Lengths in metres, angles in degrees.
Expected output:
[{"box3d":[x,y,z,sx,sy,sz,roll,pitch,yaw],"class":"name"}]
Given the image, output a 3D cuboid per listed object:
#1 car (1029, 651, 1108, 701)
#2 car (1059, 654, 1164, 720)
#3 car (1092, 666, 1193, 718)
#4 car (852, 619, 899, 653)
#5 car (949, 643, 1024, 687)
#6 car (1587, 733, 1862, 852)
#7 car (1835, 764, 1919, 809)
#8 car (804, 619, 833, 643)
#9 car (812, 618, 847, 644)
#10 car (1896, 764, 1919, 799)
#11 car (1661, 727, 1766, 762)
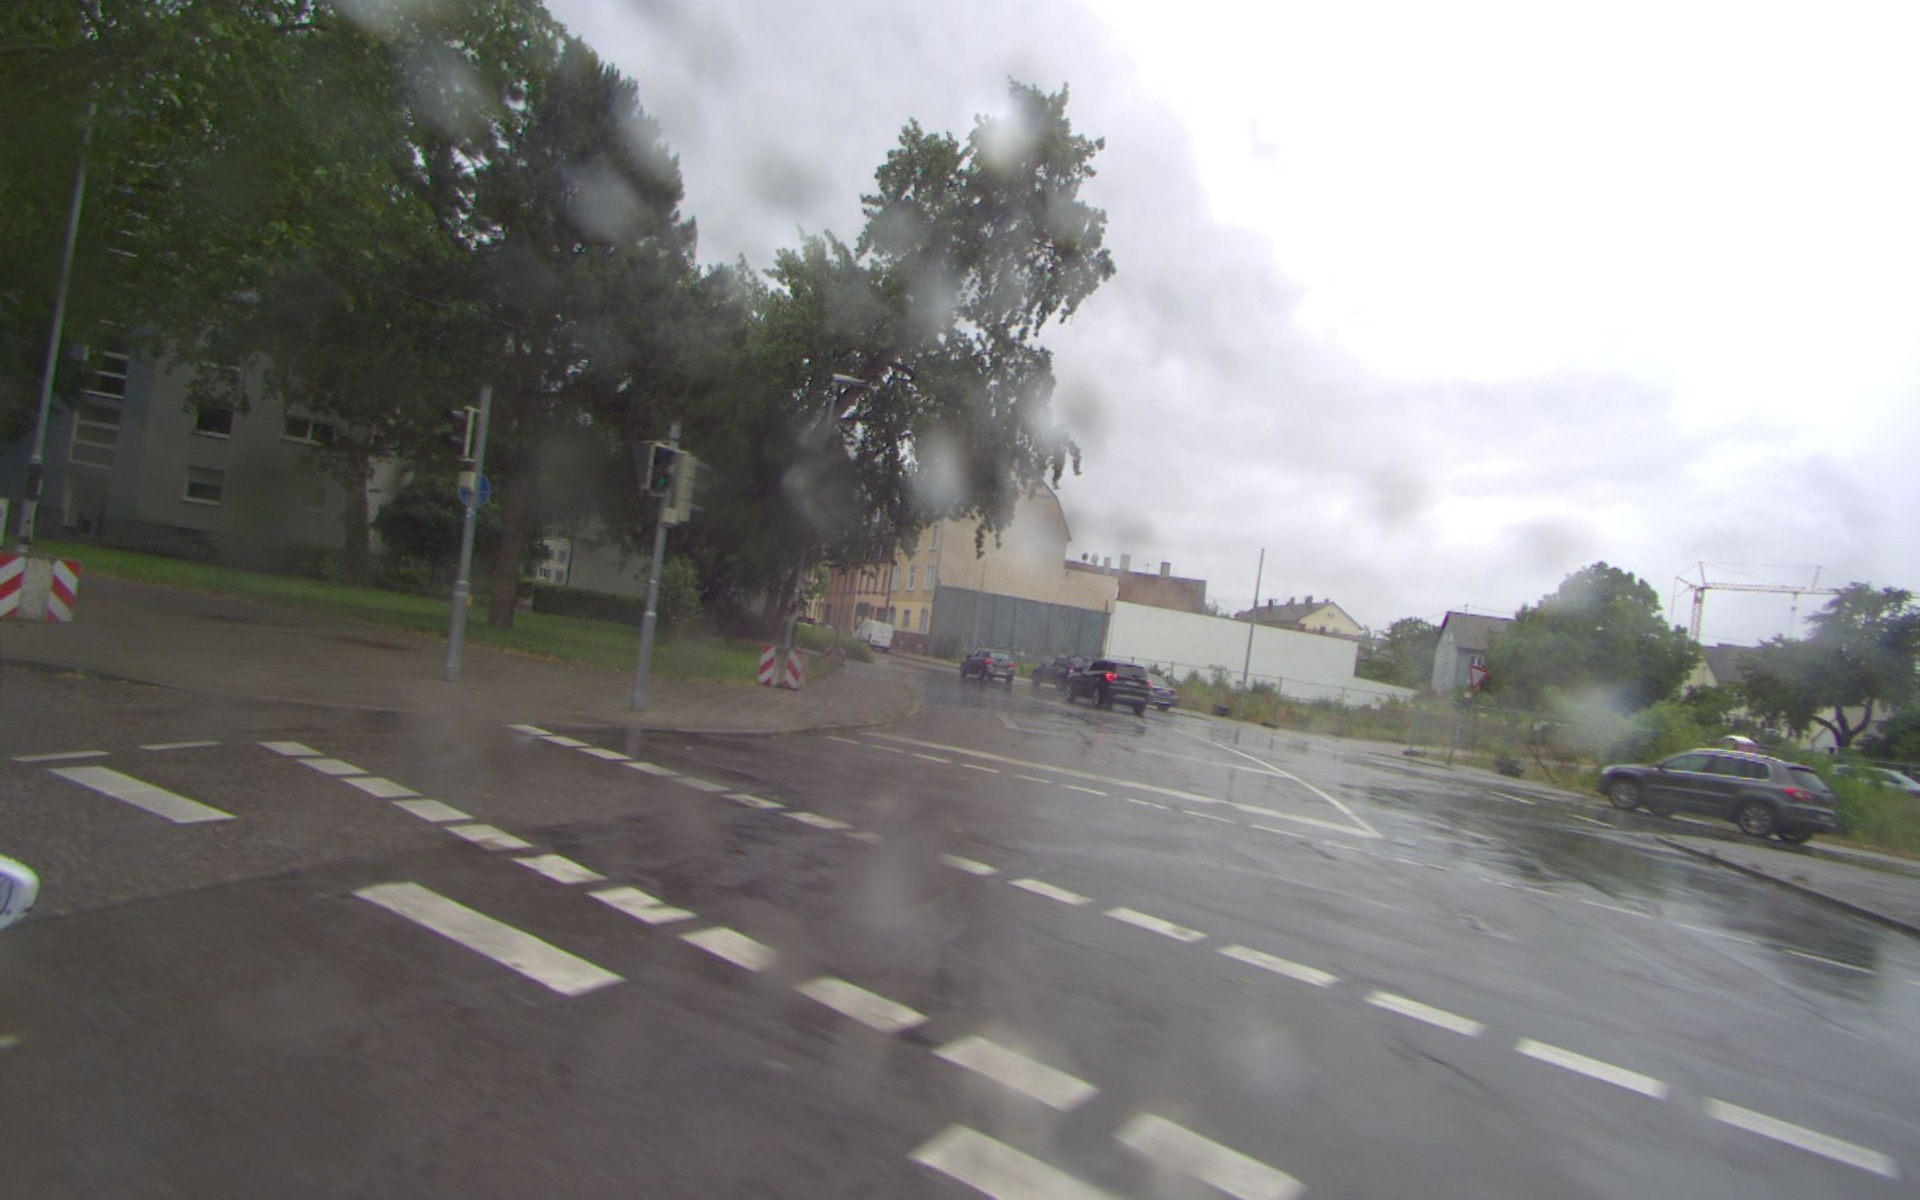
[{"box3d":[5.141,3.608,48.255,1.858,1.829,4.070,9,-3,-22],"class":"car"},{"box3d":[5.213,2.979,35.304,1.969,1.763,4.296,9,-3,-14],"class":"car"},{"box3d":[7.614,3.847,42.469,1.955,1.566,4.509,9,-3,-22],"class":"car"},{"box3d":[-6.775,2.820,80.153,2.325,2.232,4.595,9,-3,-20],"class":"car"},{"box3d":[1.239,3.145,49.068,1.974,1.620,4.070,9,-3,-22],"class":"car"},{"box3d":[16.467,4.109,21.920,1.840,1.672,4.276,9,-3,-28],"class":"car"},{"box3d":[38.310,7.700,40.762,1.754,1.280,3.964,10,-3,-35],"class":"car"},{"box3d":[-14.793,3.215,104.895,1.973,2.036,3.984,9,-3,-20],"class":"car"},{"box3d":[-12.232,2.898,94.088,2.095,2.036,3.984,9,-3,-20],"class":"car"},{"box3d":[44.884,8.517,46.240,4.363,1.424,1.753,10,-3,-34],"class":"car"},{"box3d":[40.856,7.804,54.657,1.741,1.148,4.392,9,-3,-13],"class":"car"}]
